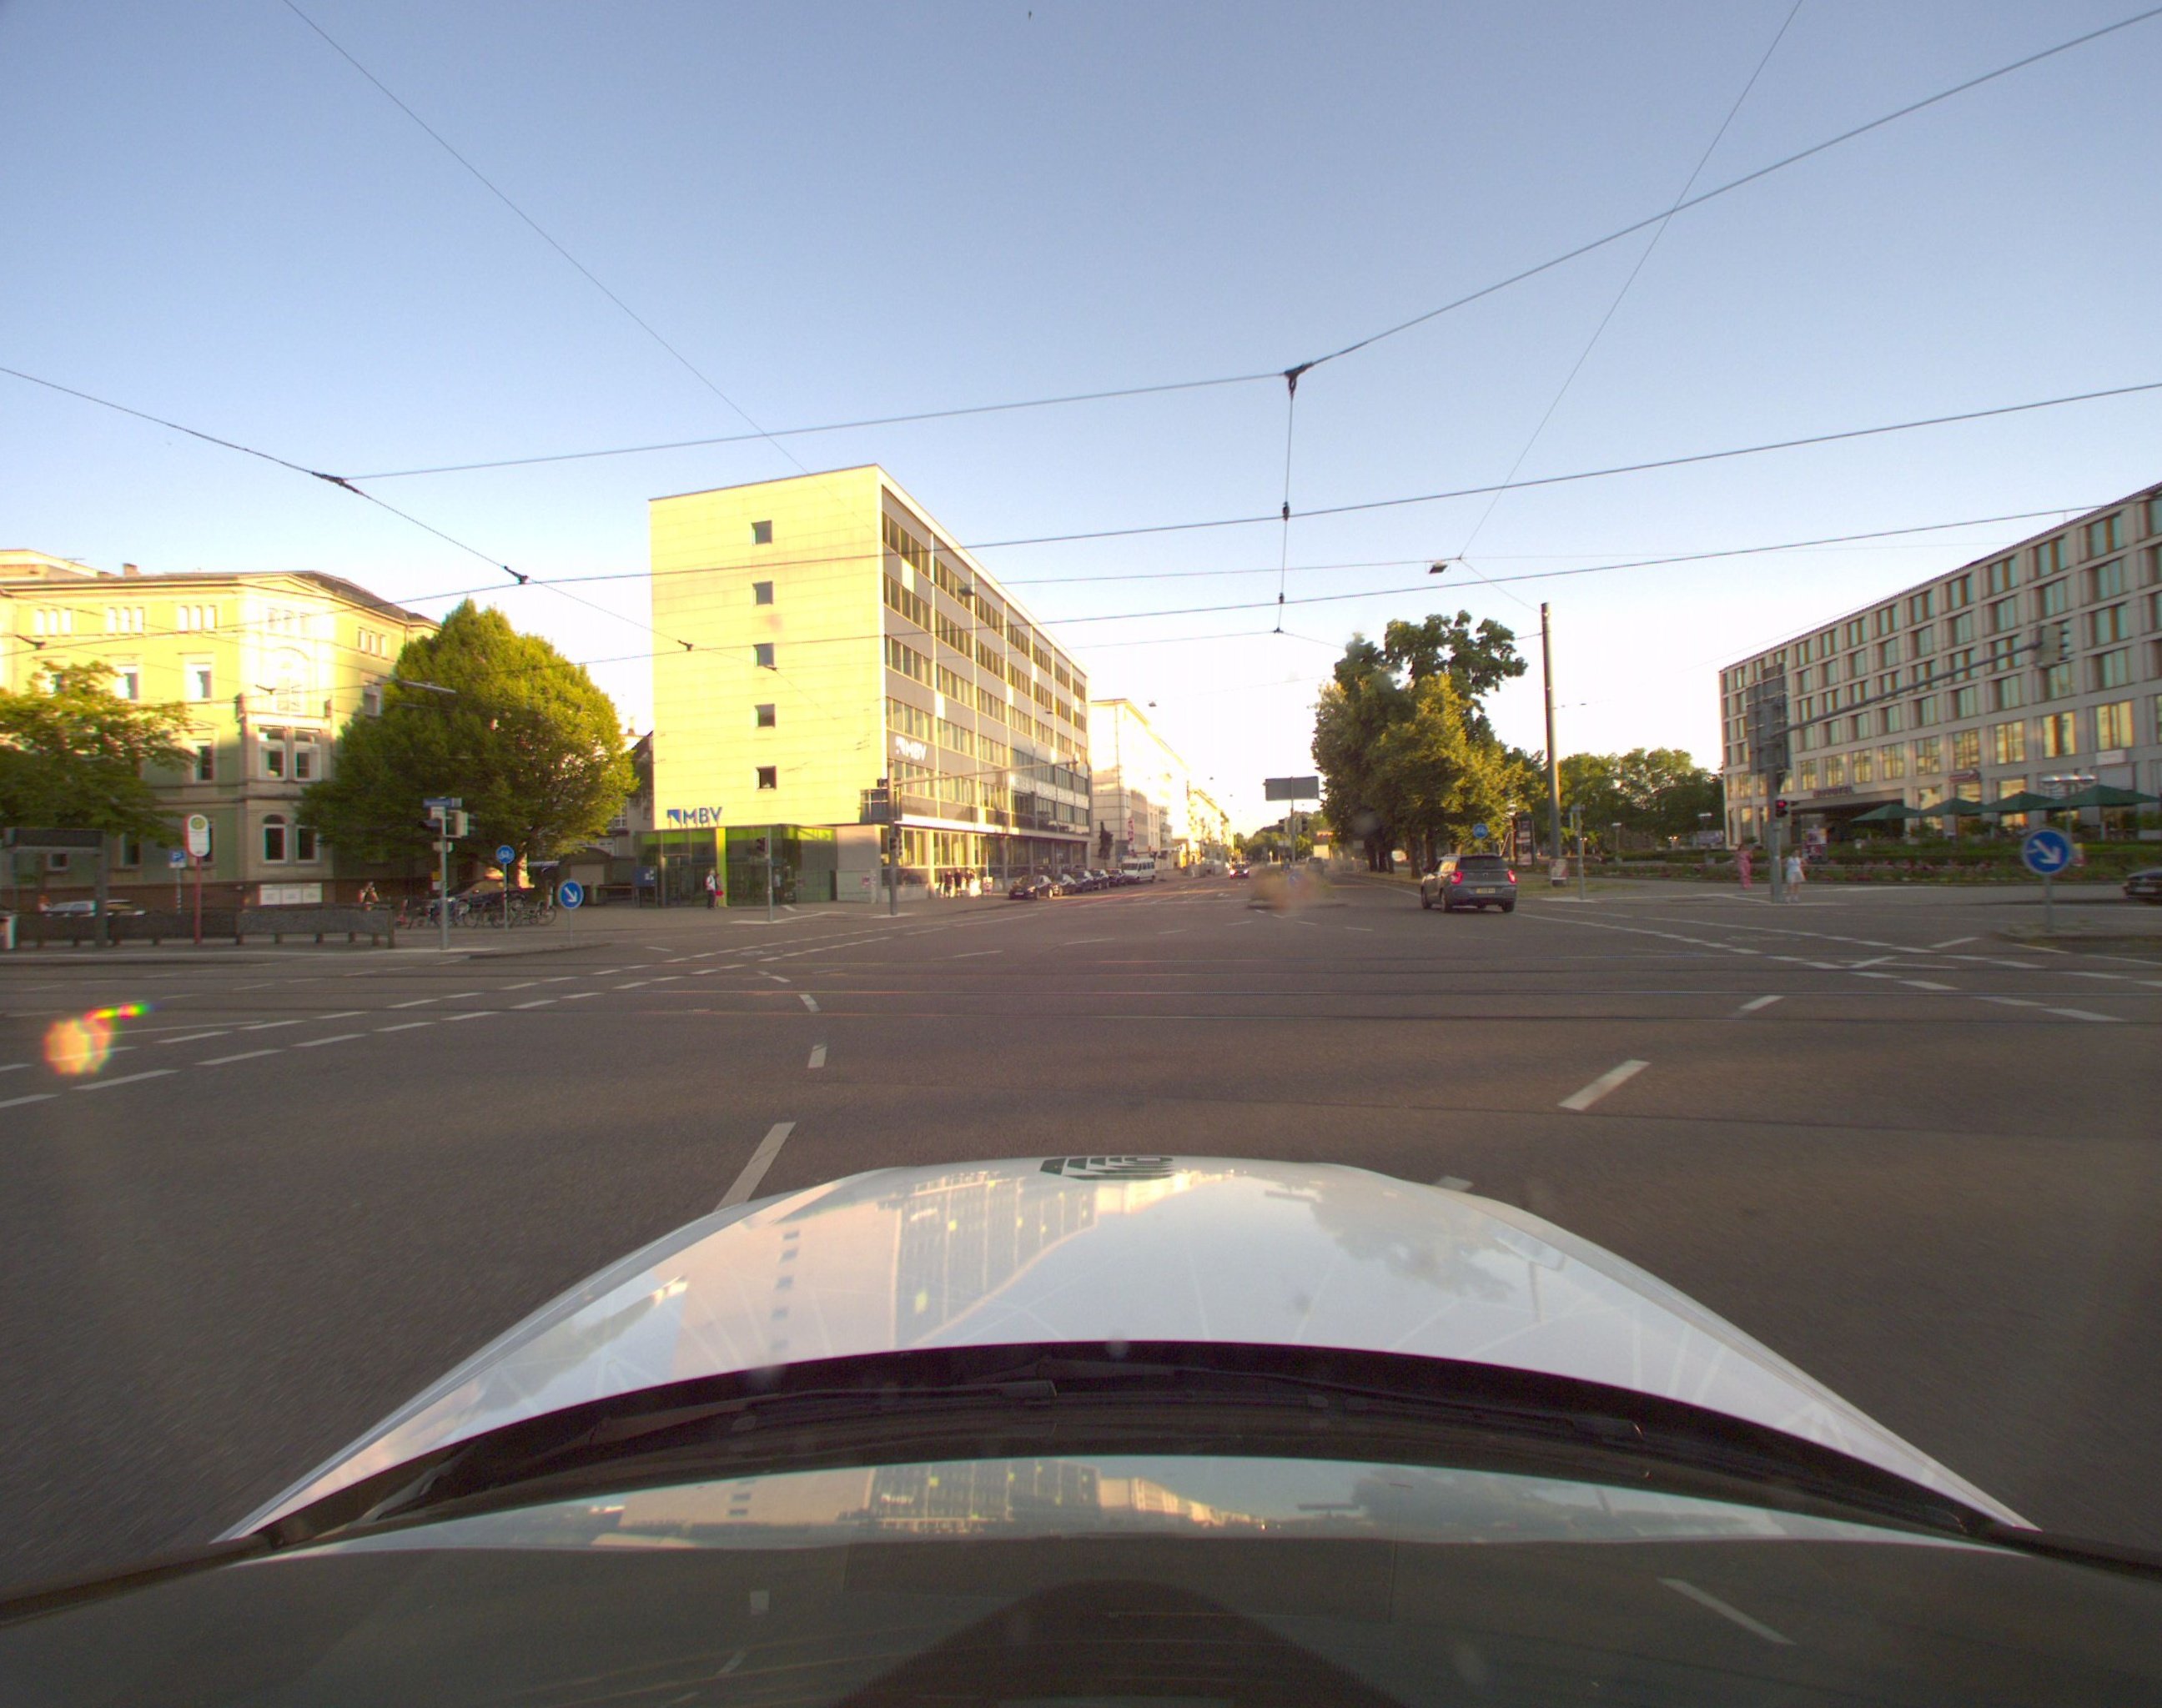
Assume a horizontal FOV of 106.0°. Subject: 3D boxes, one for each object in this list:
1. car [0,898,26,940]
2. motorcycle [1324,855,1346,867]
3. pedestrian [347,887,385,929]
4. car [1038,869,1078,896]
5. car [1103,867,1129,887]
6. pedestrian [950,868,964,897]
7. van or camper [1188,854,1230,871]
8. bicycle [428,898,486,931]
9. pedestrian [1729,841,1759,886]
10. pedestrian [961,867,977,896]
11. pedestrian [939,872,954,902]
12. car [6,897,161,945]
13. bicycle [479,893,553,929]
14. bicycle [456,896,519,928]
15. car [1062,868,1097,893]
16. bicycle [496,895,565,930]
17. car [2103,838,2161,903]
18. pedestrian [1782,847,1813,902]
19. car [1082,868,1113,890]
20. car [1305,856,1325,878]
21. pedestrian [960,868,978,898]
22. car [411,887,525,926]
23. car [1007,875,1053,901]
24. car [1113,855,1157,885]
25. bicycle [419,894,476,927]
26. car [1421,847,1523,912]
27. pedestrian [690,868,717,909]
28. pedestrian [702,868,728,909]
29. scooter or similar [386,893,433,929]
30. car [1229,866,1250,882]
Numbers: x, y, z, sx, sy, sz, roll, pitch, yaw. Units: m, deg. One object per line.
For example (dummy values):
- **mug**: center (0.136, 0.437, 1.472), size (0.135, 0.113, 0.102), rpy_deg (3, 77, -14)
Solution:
- **car**: center (-45.544, 2.683, 33.121), size (1.727, 1.725, 4.168), rpy_deg (1, -3, -31)
- **motorcycle**: center (41.479, 1.135, 133.078), size (3.460, 1.755, 0.930), rpy_deg (-2, -1, 16)
- **pedestrian**: center (-31.194, 2.327, 35.535), size (0.983, 1.768, 0.708), rpy_deg (-2, -1, -2)
- **car**: center (-1.529, 1.914, 55.564), size (1.681, 1.665, 3.882), rpy_deg (1, 0, 13)
- **car**: center (3.129, 2.013, 71.594), size (1.488, 1.665, 3.882), rpy_deg (1, 0, 13)
- **pedestrian**: center (-7.719, 1.745, 50.737), size (0.649, 1.768, 0.648), rpy_deg (-2, -1, 9)
- **van or camper**: center (18.752, 1.268, 119.011), size (5.521, 2.167, 2.232), rpy_deg (-3, -1, -17)
- **bicycle**: center (-23.000, 2.217, 30.036), size (0.736, 1.075, 1.562), rpy_deg (-2, -1, 15)
- **pedestrian**: center (24.282, 0.347, 29.834), size (0.743, 1.626, 0.717), rpy_deg (-1, -2, -45)
- **pedestrian**: center (-6.971, 1.718, 50.638), size (0.734, 1.768, 0.674), rpy_deg (-2, -2, 9)
- **pedestrian**: center (-8.257, 2.019, 50.066), size (0.649, 1.768, 0.648), rpy_deg (-2, -1, 9)
- **car**: center (-38.797, 2.588, 31.742), size (3.971, 1.552, 1.687), rpy_deg (-2, 2, 2)
- **bicycle**: center (-20.630, 2.058, 29.794), size (0.736, 1.132, 2.247), rpy_deg (-2, 0, 15)
- **bicycle**: center (-21.594, 2.101, 29.678), size (0.736, 1.075, 1.768), rpy_deg (-2, -1, 15)
- **car**: center (-0.093, 1.933, 60.521), size (1.681, 1.665, 3.882), rpy_deg (1, 0, 13)
- **bicycle**: center (-19.725, 2.083, 29.204), size (0.734, 1.074, 1.878), rpy_deg (-3, 0, 31)
- **car**: center (28.140, 0.322, 19.202), size (4.756, 1.523, 1.825), rpy_deg (-2, -3, 18)
- **pedestrian**: center (21.611, 0.611, 24.582), size (0.530, 1.626, 0.631), rpy_deg (-3, -2, 31)
- **car**: center (1.346, 1.990, 65.640), size (1.681, 1.665, 3.882), rpy_deg (1, 0, 13)
- **car**: center (24.640, 1.377, 85.930), size (1.870, 2.238, 3.926), rpy_deg (-2, -1, 15)
- **pedestrian**: center (-6.837, 1.783, 49.702), size (0.835, 1.768, 0.788), rpy_deg (-2, -1, 9)
- **car**: center (-28.562, 2.402, 38.089), size (1.785, 1.574, 4.011), rpy_deg (-2, -1, 13)
- **car**: center (-3.064, 2.012, 49.628), size (1.681, 1.411, 3.882), rpy_deg (1, 0, 13)
- **car**: center (5.257, 1.513, 78.057), size (2.217, 2.629, 5.886), rpy_deg (1, 0, 24)
- **bicycle**: center (-24.010, 2.141, 30.894), size (0.736, 1.163, 1.537), rpy_deg (-2, -1, 15)
- **car**: center (10.950, 0.672, 23.083), size (1.681, 1.605, 4.104), rpy_deg (-3, -1, 13)
- **pedestrian**: center (-16.665, 1.524, 35.973), size (0.727, 1.768, 0.711), rpy_deg (-2, -1, 14)
- **pedestrian**: center (-16.459, 1.546, 36.659), size (0.739, 1.768, 0.711), rpy_deg (-2, -1, 14)
- **scooter or similar**: center (-25.377, 2.138, 30.806), size (0.585, 1.225, 1.208), rpy_deg (-2, 1, 14)
- **car**: center (15.504, 1.909, 79.536), size (1.680, 1.421, 4.190), rpy_deg (-2, -1, 15)
